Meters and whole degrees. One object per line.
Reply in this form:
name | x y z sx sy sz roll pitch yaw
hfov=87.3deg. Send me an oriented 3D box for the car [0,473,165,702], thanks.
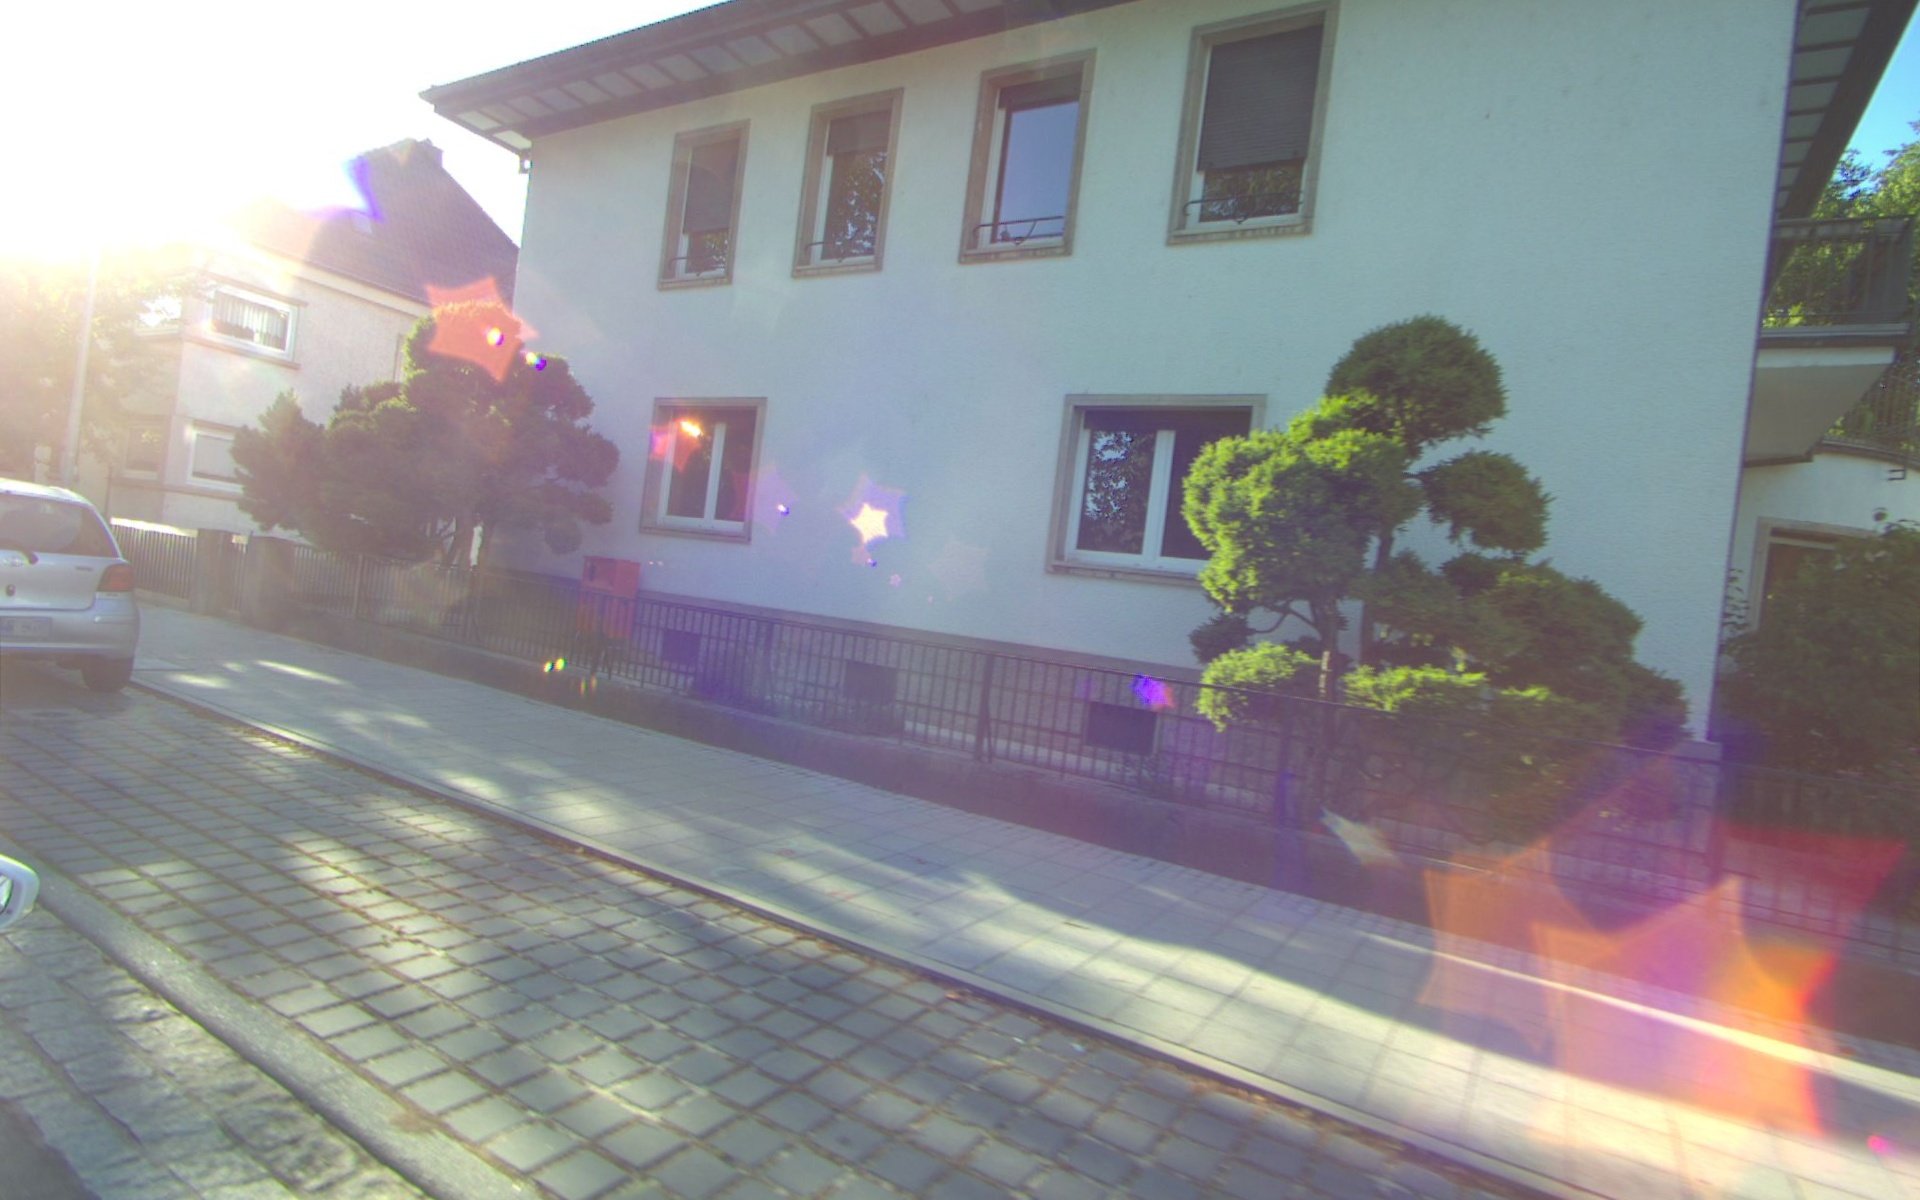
car | -7.893 -0.265 7.750 3.573 1.524 1.628 8 2 33
